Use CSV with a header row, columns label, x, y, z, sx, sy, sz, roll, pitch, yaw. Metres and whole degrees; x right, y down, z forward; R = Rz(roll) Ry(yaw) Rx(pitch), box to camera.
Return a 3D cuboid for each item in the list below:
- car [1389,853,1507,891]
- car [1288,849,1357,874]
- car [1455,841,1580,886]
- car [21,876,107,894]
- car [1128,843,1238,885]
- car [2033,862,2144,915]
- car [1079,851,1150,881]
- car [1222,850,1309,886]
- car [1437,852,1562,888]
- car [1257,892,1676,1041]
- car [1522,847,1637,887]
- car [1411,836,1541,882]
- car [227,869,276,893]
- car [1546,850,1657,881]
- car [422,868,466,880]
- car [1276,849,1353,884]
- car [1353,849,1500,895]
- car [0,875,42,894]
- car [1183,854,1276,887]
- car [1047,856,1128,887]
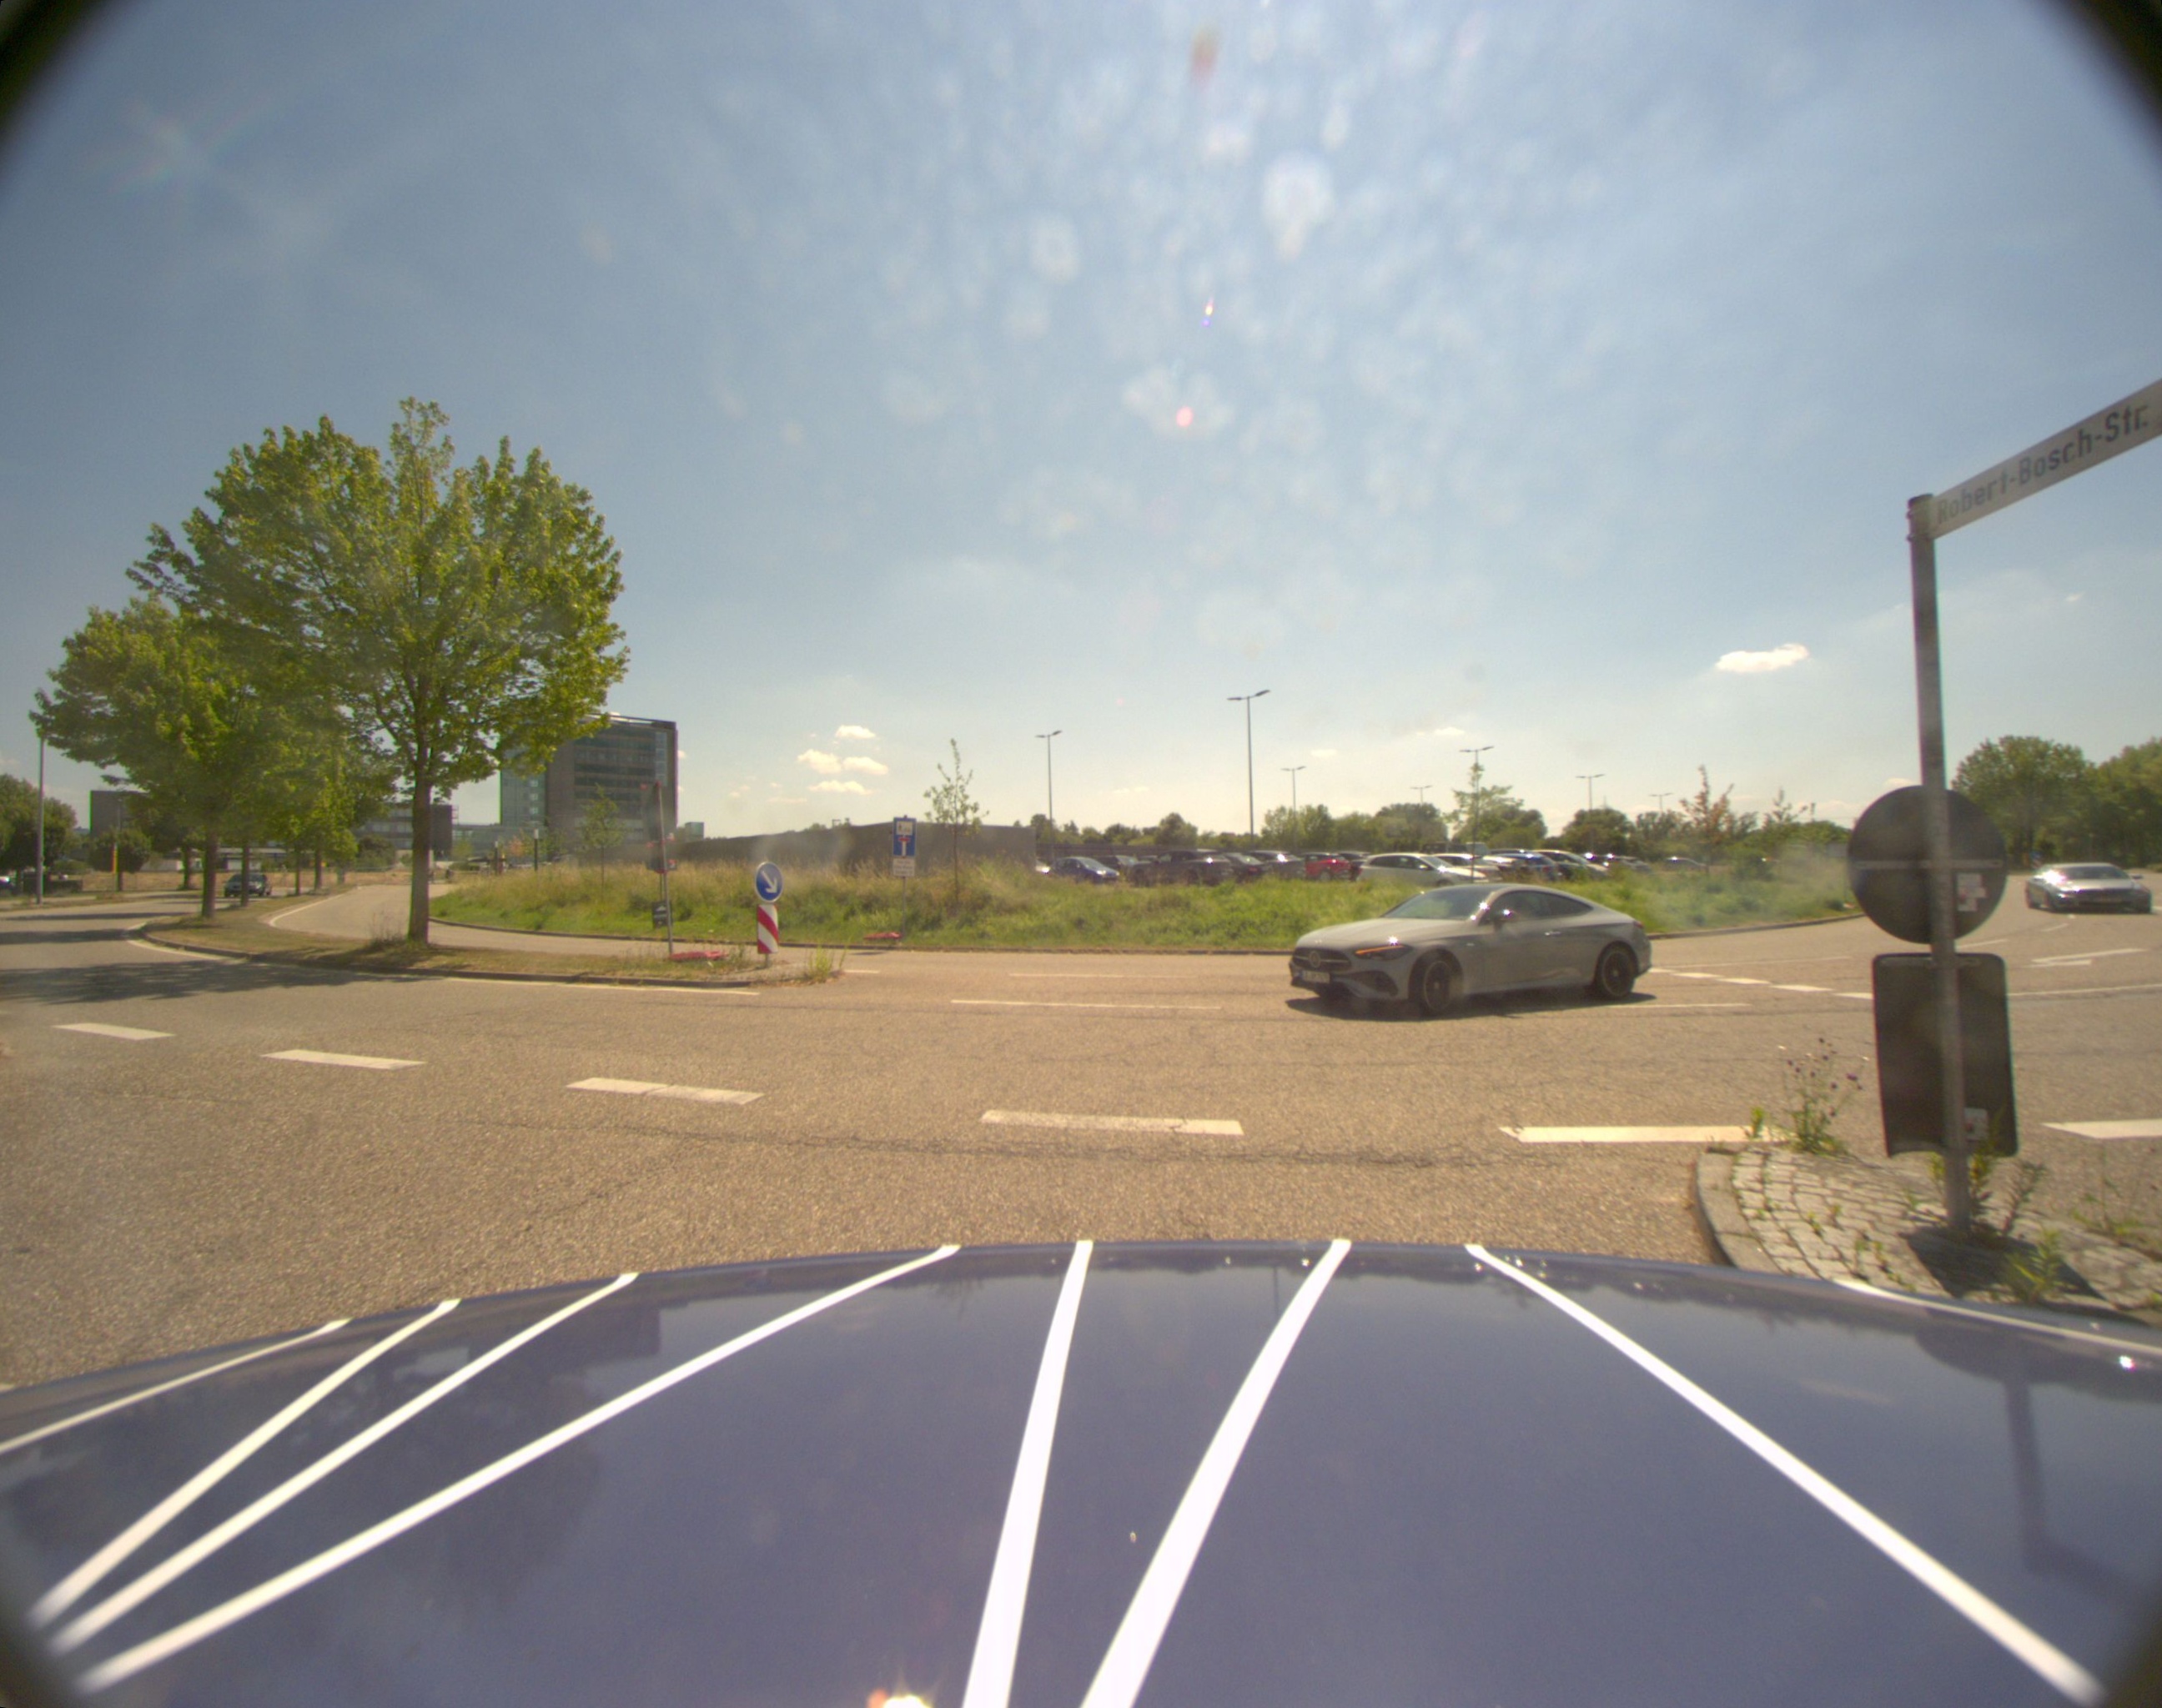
label,x,y,z,sx,sy,sz,roll,pitch,yaw
car,12.472,0.607,25.910,1.504,1.175,3.262,-3,1,-41
car,14.876,0.459,46.877,1.773,1.490,3.629,-1,1,-43
car,17.903,0.408,31.283,1.691,1.420,4.031,-1,-5,-44
car,-81.596,2.492,61.032,3.852,1.266,1.605,-1,0,-42
car,4.329,0.474,32.797,1.781,1.680,4.592,1,-2,-43
car,30.220,1.003,22.900,4.506,1.366,1.670,-1,-3,-40
car,1.715,0.616,39.848,1.602,1.490,3.629,-1,0,-43
car,8.669,0.617,35.872,1.773,1.588,3.629,-1,1,-43
car,16.222,0.630,29.602,1.588,1.250,3.936,-3,1,-44
car,4.715,1.223,9.380,4.637,1.374,1.896,-1,-2,-19
car,21.192,0.523,32.380,1.621,1.614,3.838,-1,0,-44
car,14.320,0.203,27.701,1.880,1.518,3.739,-3,1,-36
car,-57.101,1.867,52.352,1.683,1.495,3.564,-2,-2,-38
car,24.915,0.570,36.484,1.912,1.284,3.990,-2,-2,-40
car,-74.184,2.299,88.549,3.852,1.266,1.605,-1,0,-42
car,11.932,0.649,38.971,1.525,1.564,3.411,-2,-2,-45
car,10.800,0.557,23.946,1.577,1.290,3.867,-3,1,-40
car,-76.141,2.167,53.111,3.900,1.266,1.700,-1,0,-42
car,6.606,0.705,34.098,1.656,1.354,3.838,-1,1,-43
car,0.285,0.814,36.352,3.629,1.437,1.656,-1,0,41
